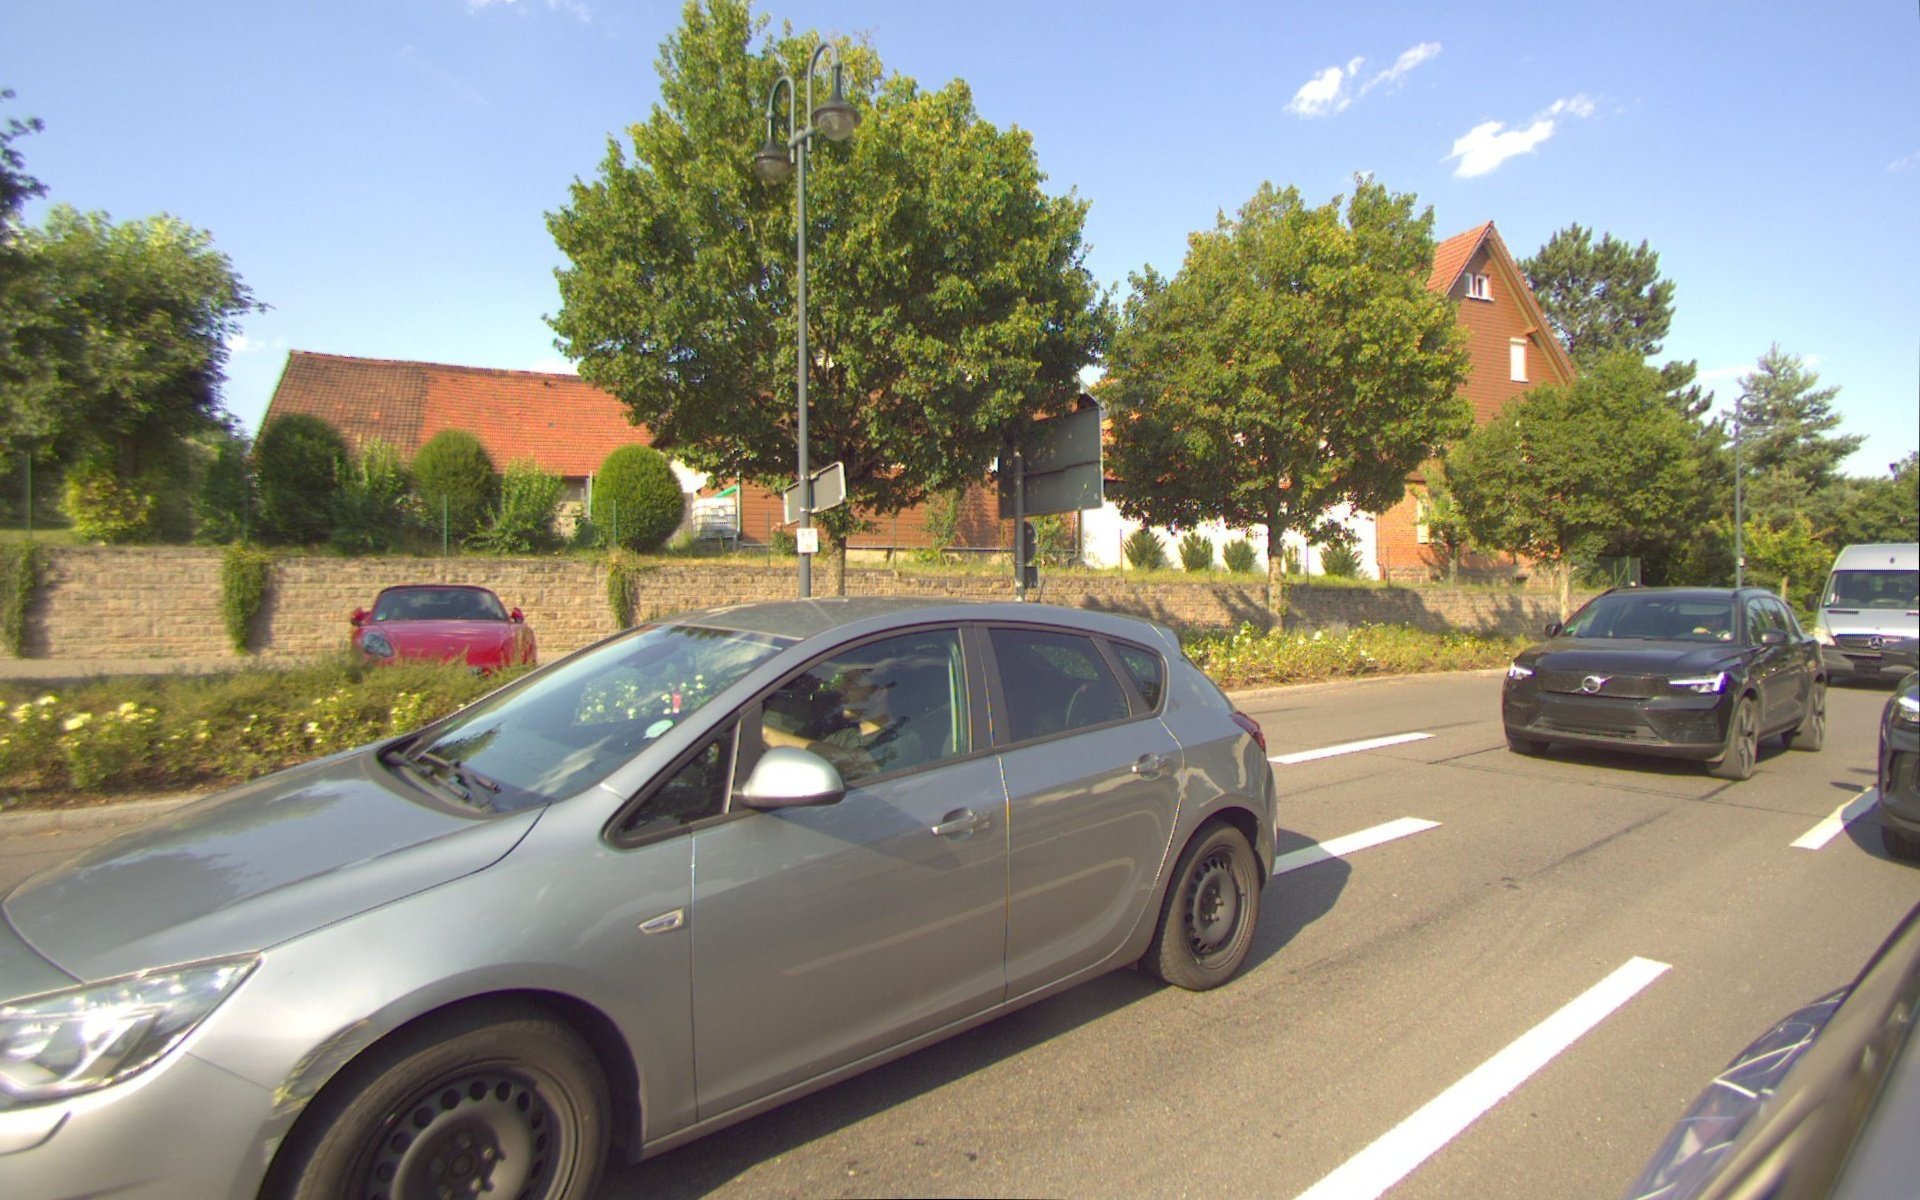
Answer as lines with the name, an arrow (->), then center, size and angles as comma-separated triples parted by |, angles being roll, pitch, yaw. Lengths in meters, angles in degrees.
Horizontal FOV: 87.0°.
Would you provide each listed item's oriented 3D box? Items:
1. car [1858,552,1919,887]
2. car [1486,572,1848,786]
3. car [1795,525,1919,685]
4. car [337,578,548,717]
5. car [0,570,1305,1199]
car -> 7.024, 0.594, 6.013 | 4.646, 1.677, 1.893 | 0, 0, -40
car -> 6.909, 0.587, 9.737 | 4.054, 1.629, 1.885 | 0, 0, -40
car -> 17.581, 0.064, 18.633 | 6.082, 2.579, 2.369 | 0, 0, -40
car -> -5.898, 0.430, 11.593 | 1.816, 1.288, 4.005 | 0, 0, -28
car -> -0.707, 0.671, 3.384 | 4.095, 1.460, 1.746 | 0, 0, -41
